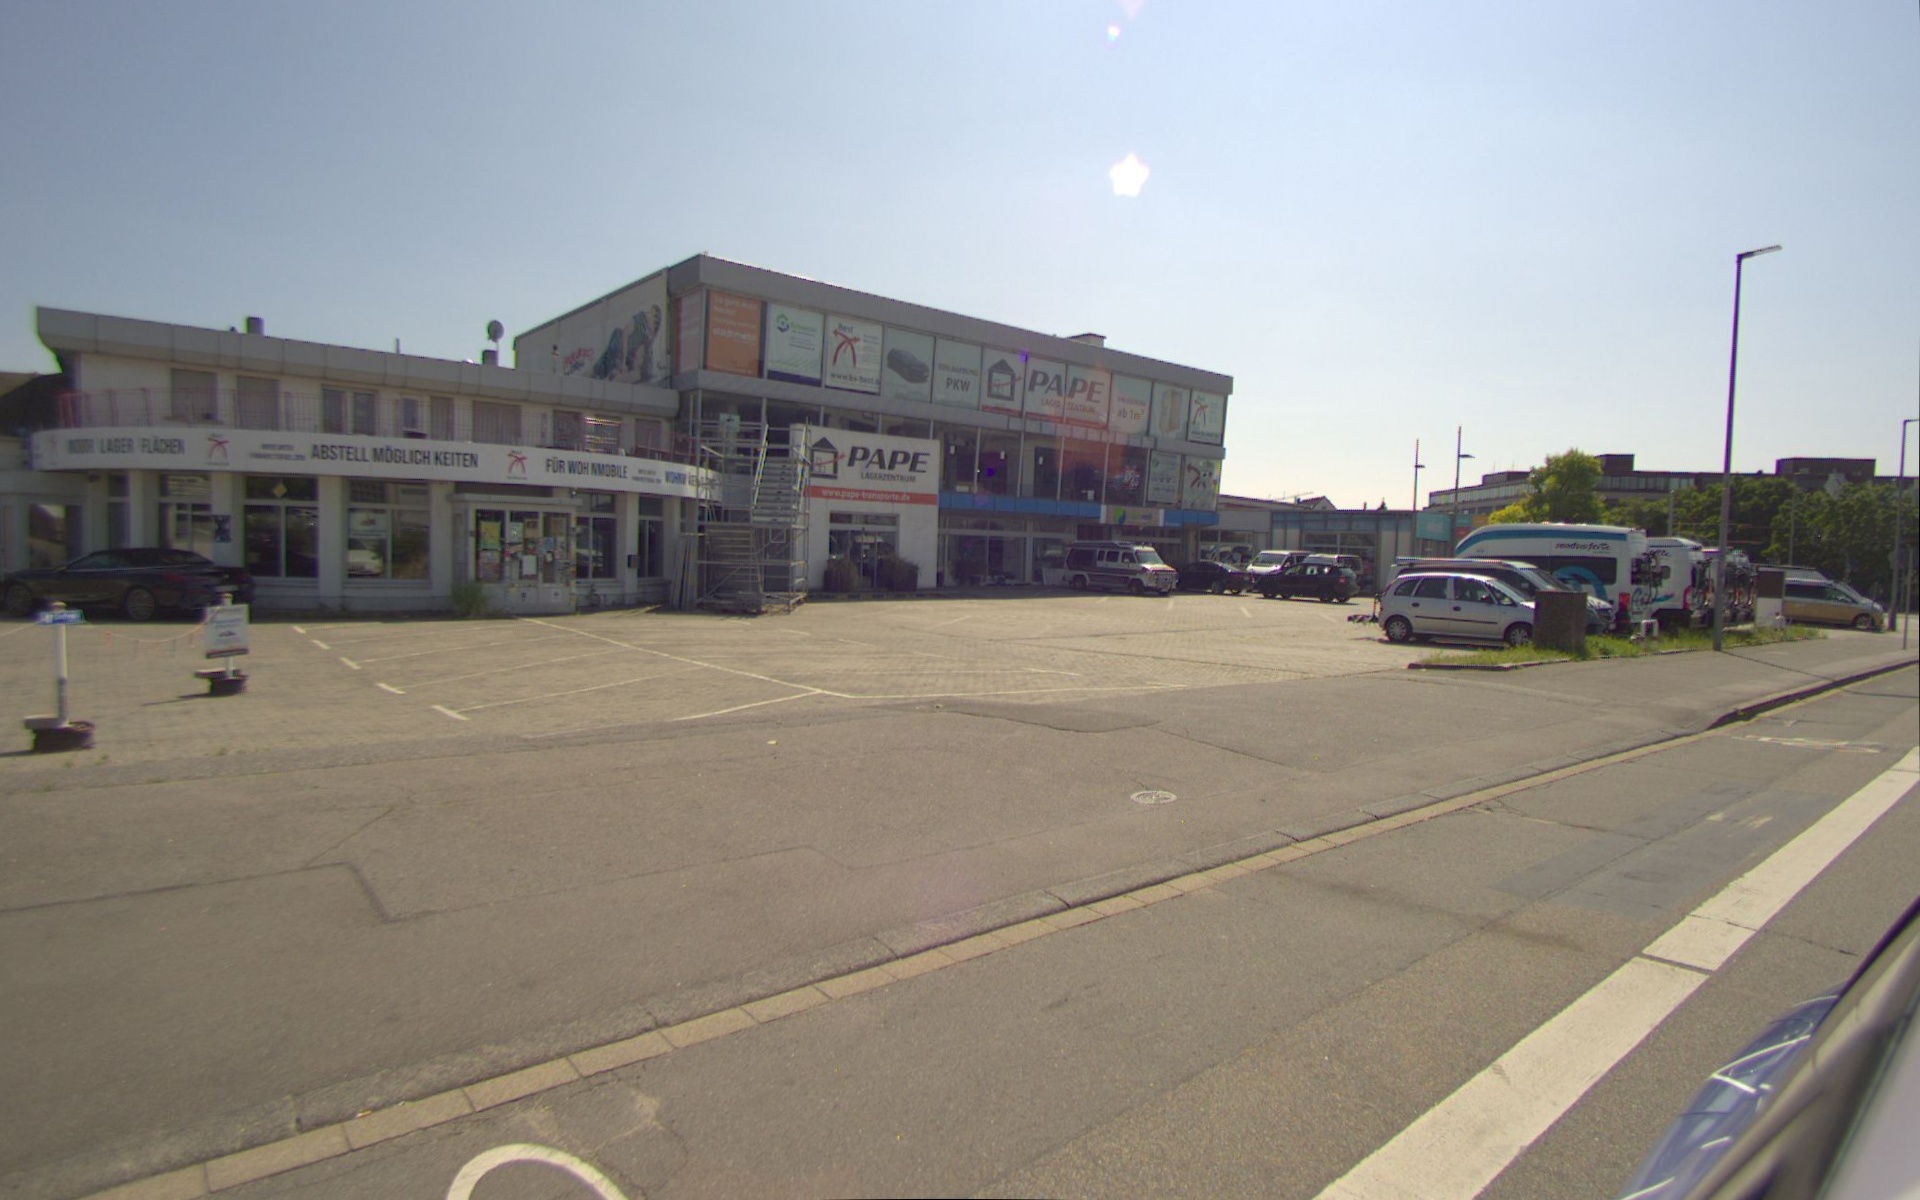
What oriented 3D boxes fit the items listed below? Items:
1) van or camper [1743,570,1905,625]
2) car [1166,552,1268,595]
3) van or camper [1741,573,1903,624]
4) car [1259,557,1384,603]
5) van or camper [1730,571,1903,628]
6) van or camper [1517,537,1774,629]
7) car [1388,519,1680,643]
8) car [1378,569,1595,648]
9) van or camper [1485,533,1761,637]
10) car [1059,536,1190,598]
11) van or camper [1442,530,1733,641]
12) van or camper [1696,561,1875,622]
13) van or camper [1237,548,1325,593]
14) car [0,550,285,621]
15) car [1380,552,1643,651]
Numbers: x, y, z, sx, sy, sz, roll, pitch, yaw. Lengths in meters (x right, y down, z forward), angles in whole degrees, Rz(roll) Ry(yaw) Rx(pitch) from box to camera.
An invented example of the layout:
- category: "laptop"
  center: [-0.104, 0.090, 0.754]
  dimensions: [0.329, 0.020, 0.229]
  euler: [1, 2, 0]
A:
- category: "van or camper"
  center: [38.287, -0.148, 44.992]
  dimensions: [4.920, 2.070, 2.030]
  euler: [4, 3, 20]
- category: "car"
  center: [11.872, -1.238, 46.893]
  dimensions: [1.967, 1.754, 4.110]
  euler: [0, 3, -44]
- category: "van or camper"
  center: [40.235, -0.117, 47.406]
  dimensions: [5.071, 2.101, 2.439]
  euler: [3, 2, 18]
- category: "car"
  center: [15.332, -0.869, 43.076]
  dimensions: [1.967, 1.698, 4.543]
  euler: [0, 3, -44]
- category: "van or camper"
  center: [36.166, -0.085, 42.902]
  dimensions: [5.073, 1.984, 1.975]
  euler: [4, 4, 20]
- category: "van or camper"
  center: [21.552, -0.632, 32.096]
  dimensions: [2.572, 2.555, 6.210]
  euler: [1, 3, -40]
- category: "car"
  center: [15.000, -0.628, 26.888]
  dimensions: [2.279, 2.904, 6.243]
  euler: [1, 3, -40]
- category: "car"
  center: [11.639, 0.130, 22.566]
  dimensions: [1.766, 1.613, 3.929]
  euler: [1, 1, -41]
- category: "van or camper"
  center: [19.689, -0.554, 30.400]
  dimensions: [2.664, 2.749, 6.364]
  euler: [1, 3, -40]
- category: "car"
  center: [7.031, -1.467, 43.731]
  dimensions: [2.285, 2.448, 5.309]
  euler: [1, 3, -40]
- category: "van or camper"
  center: [17.454, -0.517, 28.514]
  dimensions: [2.664, 2.733, 6.364]
  euler: [1, 3, -40]
- category: "van or camper"
  center: [40.839, -0.471, 50.282]
  dimensions: [6.270, 2.668, 2.523]
  euler: [3, 2, 14]
- category: "van or camper"
  center: [15.997, -1.449, 50.339]
  dimensions: [2.118, 2.038, 5.034]
  euler: [4, 3, 43]
- category: "car"
  center: [-16.126, -0.291, 19.915]
  dimensions: [4.469, 1.306, 1.895]
  euler: [0, 1, 1]
- category: "car"
  center: [13.415, -0.054, 24.941]
  dimensions: [1.965, 1.975, 5.247]
  euler: [1, 4, -41]
